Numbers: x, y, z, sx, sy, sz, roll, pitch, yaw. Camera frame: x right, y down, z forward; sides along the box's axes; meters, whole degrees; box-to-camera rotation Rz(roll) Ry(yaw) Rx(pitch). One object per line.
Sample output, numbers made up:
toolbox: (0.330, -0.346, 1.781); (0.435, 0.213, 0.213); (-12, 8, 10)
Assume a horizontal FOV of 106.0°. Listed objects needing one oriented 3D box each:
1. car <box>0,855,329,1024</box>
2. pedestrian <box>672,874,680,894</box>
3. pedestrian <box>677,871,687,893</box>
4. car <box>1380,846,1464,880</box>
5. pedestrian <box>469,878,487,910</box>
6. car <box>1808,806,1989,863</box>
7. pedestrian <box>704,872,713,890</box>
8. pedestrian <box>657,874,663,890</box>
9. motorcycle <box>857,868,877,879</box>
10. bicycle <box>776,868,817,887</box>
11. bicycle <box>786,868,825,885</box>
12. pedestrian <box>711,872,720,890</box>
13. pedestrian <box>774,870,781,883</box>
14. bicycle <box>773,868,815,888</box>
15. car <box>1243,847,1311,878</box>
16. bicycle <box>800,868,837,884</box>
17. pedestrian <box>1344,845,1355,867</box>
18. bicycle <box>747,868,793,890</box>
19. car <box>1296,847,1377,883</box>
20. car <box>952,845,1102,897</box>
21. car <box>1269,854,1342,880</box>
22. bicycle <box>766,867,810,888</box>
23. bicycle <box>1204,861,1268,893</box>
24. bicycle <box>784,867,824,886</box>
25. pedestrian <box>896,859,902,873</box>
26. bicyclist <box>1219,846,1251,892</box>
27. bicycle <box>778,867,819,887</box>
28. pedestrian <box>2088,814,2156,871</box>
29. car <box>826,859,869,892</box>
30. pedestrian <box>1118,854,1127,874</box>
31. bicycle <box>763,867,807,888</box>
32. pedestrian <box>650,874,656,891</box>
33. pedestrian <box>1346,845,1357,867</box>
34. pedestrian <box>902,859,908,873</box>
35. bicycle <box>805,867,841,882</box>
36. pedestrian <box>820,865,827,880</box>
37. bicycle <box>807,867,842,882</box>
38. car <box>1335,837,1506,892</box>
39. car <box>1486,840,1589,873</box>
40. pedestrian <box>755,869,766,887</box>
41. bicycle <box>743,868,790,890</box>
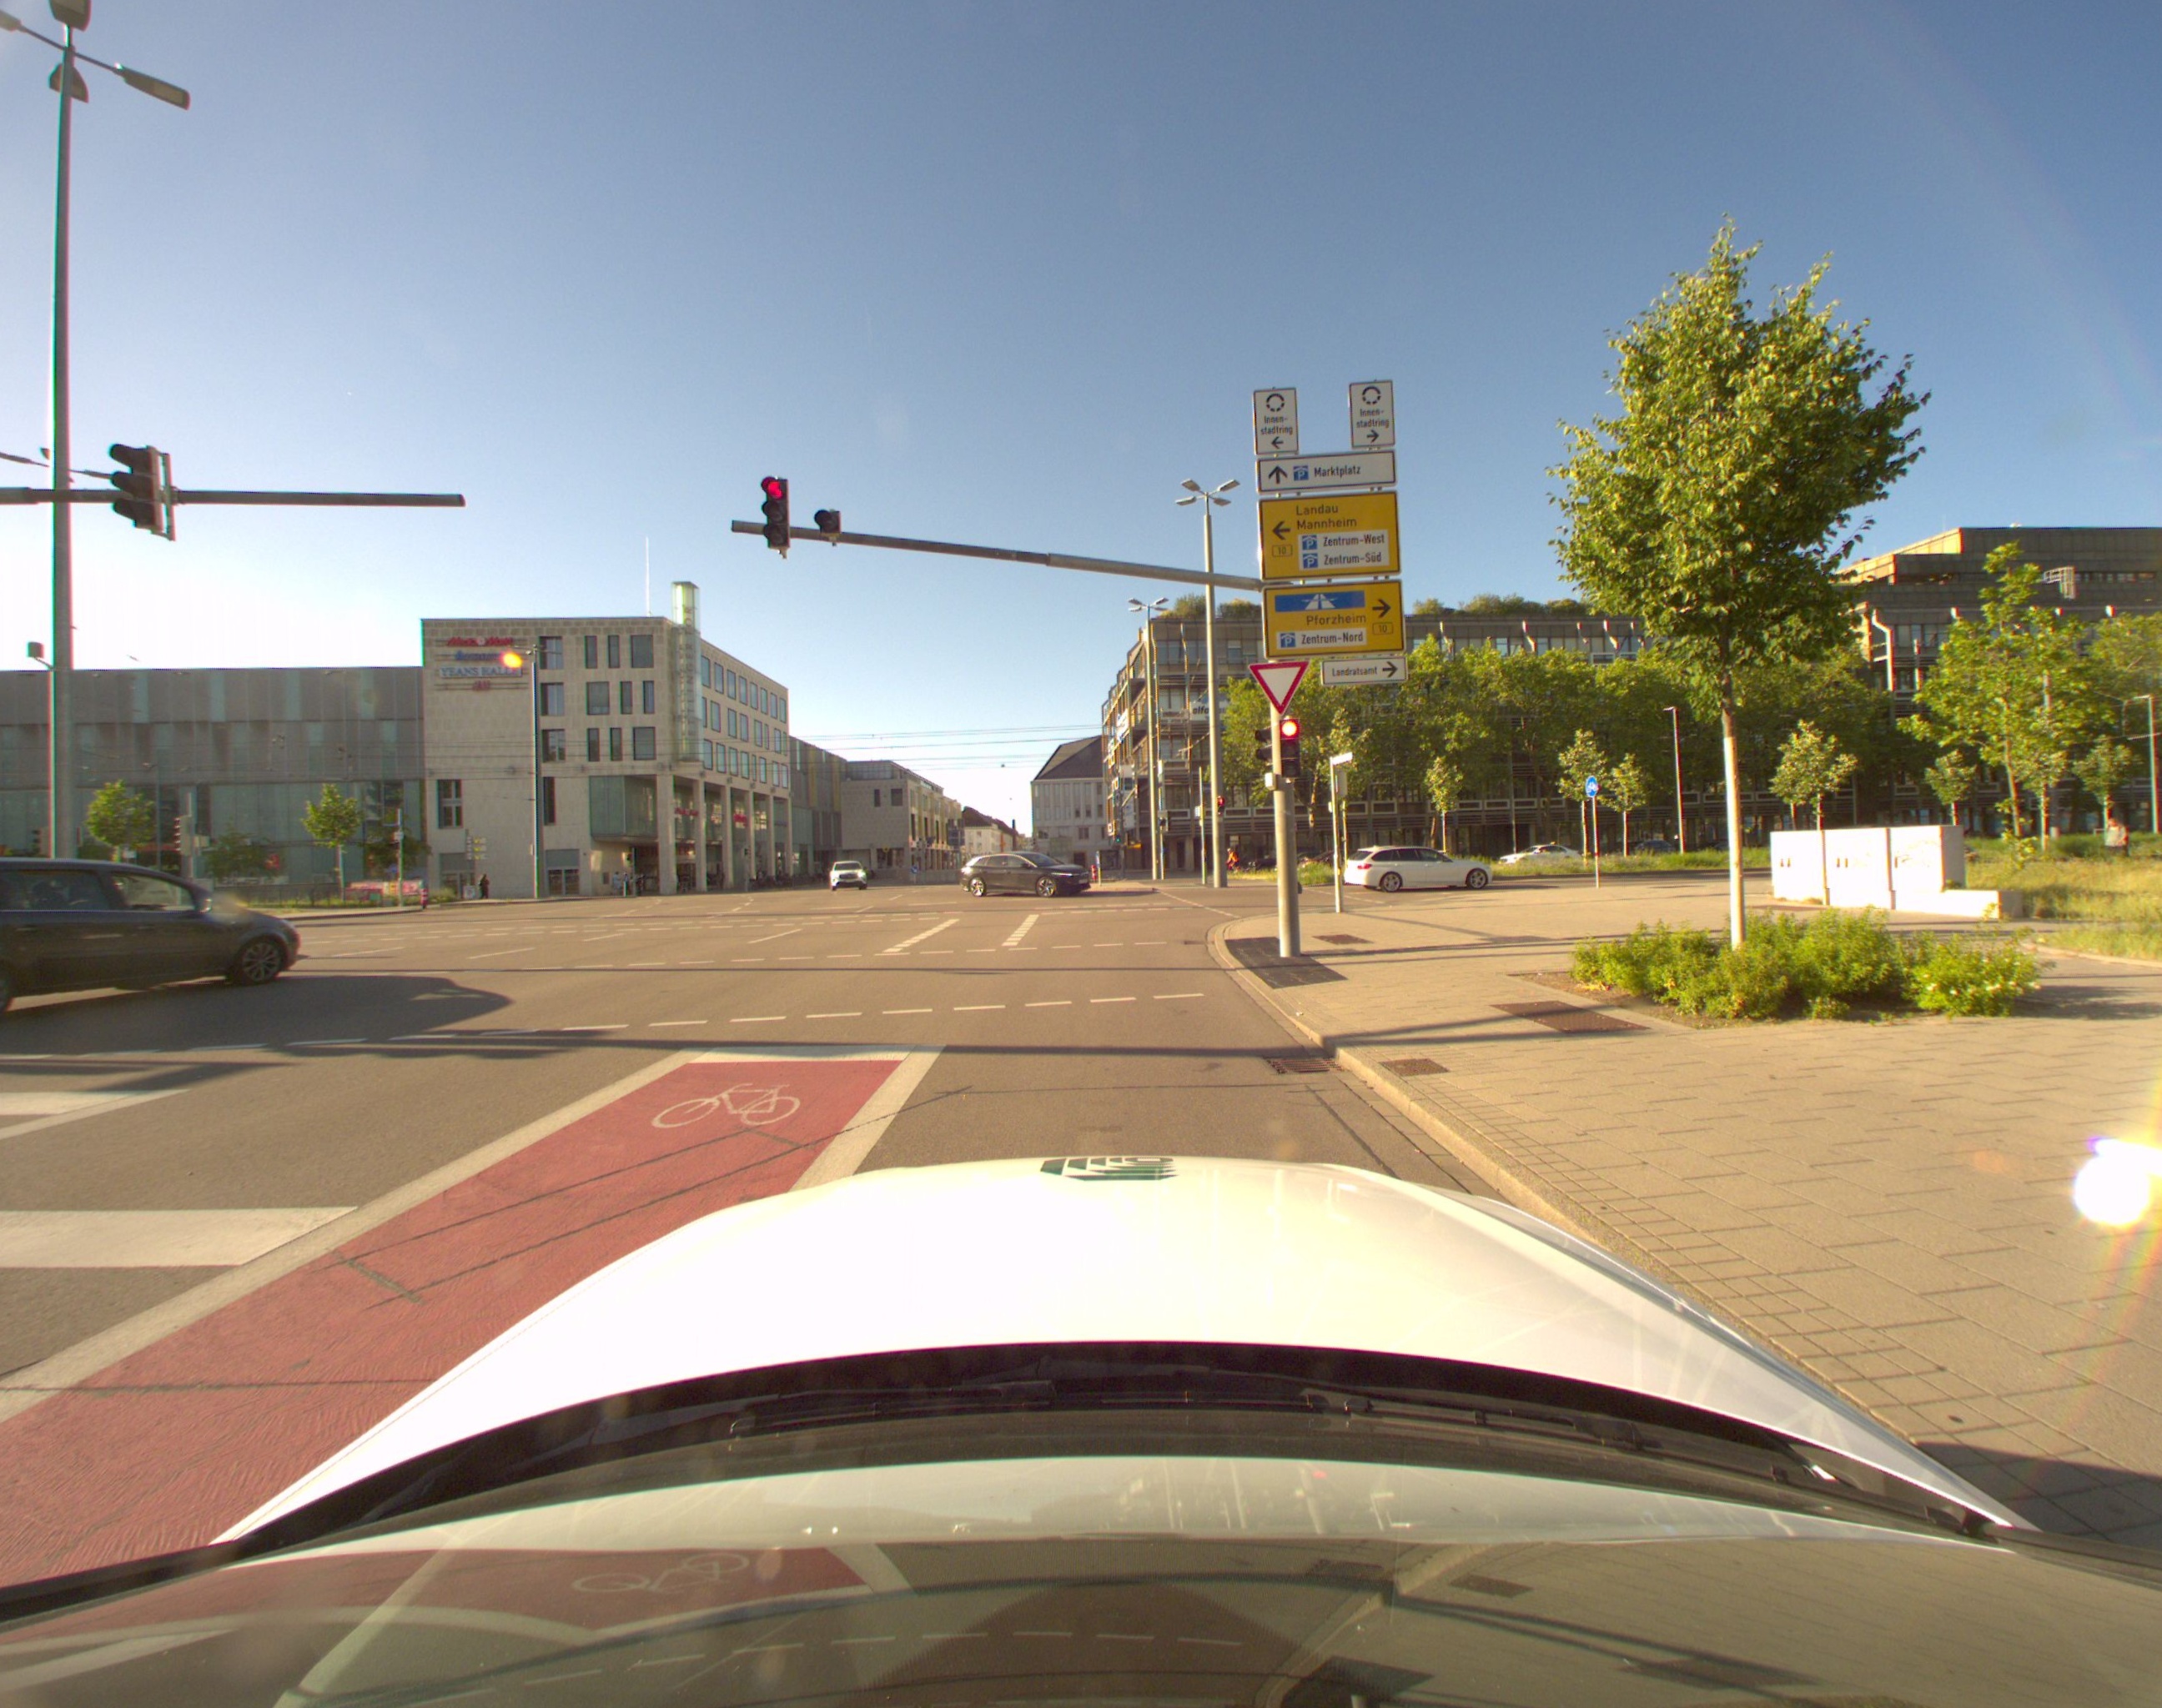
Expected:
car: (-11.369, 0.824, 9.007); (1.988, 1.607, 4.478); (0, 0, -2)
pedestrian: (-32.947, 2.407, 66.270); (0.428, 1.585, 0.498); (-2, 0, -3)
pedestrian: (-30.423, 2.152, 62.057); (0.541, 1.642, 0.547); (-2, 0, -17)
car: (21.409, 0.559, 51.240); (4.435, 2.014, 1.998); (0, -1, -4)
pedestrian: (-32.847, 2.166, 44.391); (0.524, 1.694, 0.548); (-2, 0, 1)
car: (28.064, -0.657, 28.043); (4.466, 1.758, 1.996); (-2, -1, -6)
pedestrian: (-32.466, 2.375, 71.060); (0.510, 1.510, 0.513); (-2, 0, -3)
pedestrian: (-37.469, 2.522, 72.440); (0.388, 1.412, 0.434); (-2, 0, -25)
motorcycle: (-25.971, 2.374, 98.861); (2.269, 1.318, 0.719); (-2, 0, -4)
bicycle: (-26.853, 2.199, 76.851); (3.491, 1.696, 0.984); (-2, 0, -10)
bicycle: (-27.407, 2.226, 81.153); (3.491, 1.527, 0.984); (-2, 0, -10)
pedestrian: (-32.137, 2.382, 71.627); (0.480, 1.510, 0.513); (-2, 0, -3)
pedestrian: (-33.300, 2.464, 89.365); (0.640, 1.435, 0.472); (-2, 0, -21)
bicycle: (-26.677, 2.181, 75.755); (3.491, 1.696, 0.984); (-2, 0, -10)
car: (12.843, 0.558, 53.617); (3.975, 2.014, 1.999); (0, -1, -1)
bicycle: (-27.545, 2.291, 85.575); (3.491, 1.527, 0.984); (-2, 0, -10)
pedestrian: (20.131, 0.159, 61.099); (0.538, 1.590, 0.586); (-2, 0, -1)
bicycle: (-26.908, 2.151, 70.510); (3.488, 1.696, 1.114); (-2, 0, -7)
car: (14.457, 0.617, 46.202); (3.975, 2.014, 1.999); (0, -1, -1)
car: (-1.920, 0.604, 28.318); (4.889, 1.601, 2.013); (-2, 1, 32)
car: (13.856, 0.780, 50.468); (3.976, 1.508, 1.867); (-1, 0, -2)
bicycle: (-26.317, 2.115, 73.168); (3.488, 1.696, 1.114); (-2, 0, -7)
bicycle: (8.930, 1.313, 47.060); (3.488, 1.659, 0.929); (-2, 0, -7)
bicycle: (-27.245, 2.234, 80.156); (3.491, 1.696, 0.984); (-2, 0, -10)
pedestrian: (-26.404, 1.691, 118.184); (0.623, 2.013, 0.734); (-2, 0, 4)
bicyclist: (8.889, 0.853, 47.064); (1.566, 2.580, 0.929); (-2, 0, -7)
bicycle: (-27.041, 2.211, 78.060); (3.491, 1.696, 0.984); (-2, 0, -10)
pedestrian: (30.572, -0.333, 23.921); (0.801, 1.630, 0.939); (-2, 0, -12)
car: (-12.968, 1.157, 45.072); (2.000, 1.660, 4.377); (-2, 0, -19)
pedestrian: (3.510, 0.864, 69.017); (0.661, 1.658, 0.755); (-2, 0, -1)
bicycle: (-26.141, 2.070, 71.948); (3.488, 1.696, 1.114); (-2, 0, -7)
pedestrian: (-37.957, 2.530, 72.173); (0.388, 1.426, 0.499); (-2, 0, -22)
pedestrian: (20.080, 0.153, 60.443); (0.538, 1.669, 0.537); (-2, 0, -1)
pedestrian: (-25.533, 1.684, 118.134); (0.623, 2.013, 0.734); (-2, 0, 4)
bicycle: (-27.650, 2.212, 87.443); (3.491, 1.527, 0.984); (-2, 0, -10)
pedestrian: (-30.024, 2.150, 94.928); (0.652, 1.642, 0.693); (-2, 0, -7)
bicycle: (-27.919, 2.212, 88.572); (3.491, 1.527, 0.984); (-2, 0, -10)
car: (10.888, 0.322, 26.355); (4.675, 1.528, 1.998); (-2, 0, -3)
car: (28.897, 0.141, 51.647); (5.424, 2.014, 2.097); (0, -1, -1)
pedestrian: (-30.183, 2.273, 76.786); (0.784, 1.642, 0.692); (-2, 0, -10)
bicycle: (-26.728, 2.097, 69.287); (3.488, 1.696, 1.114); (-2, 0, -7)
